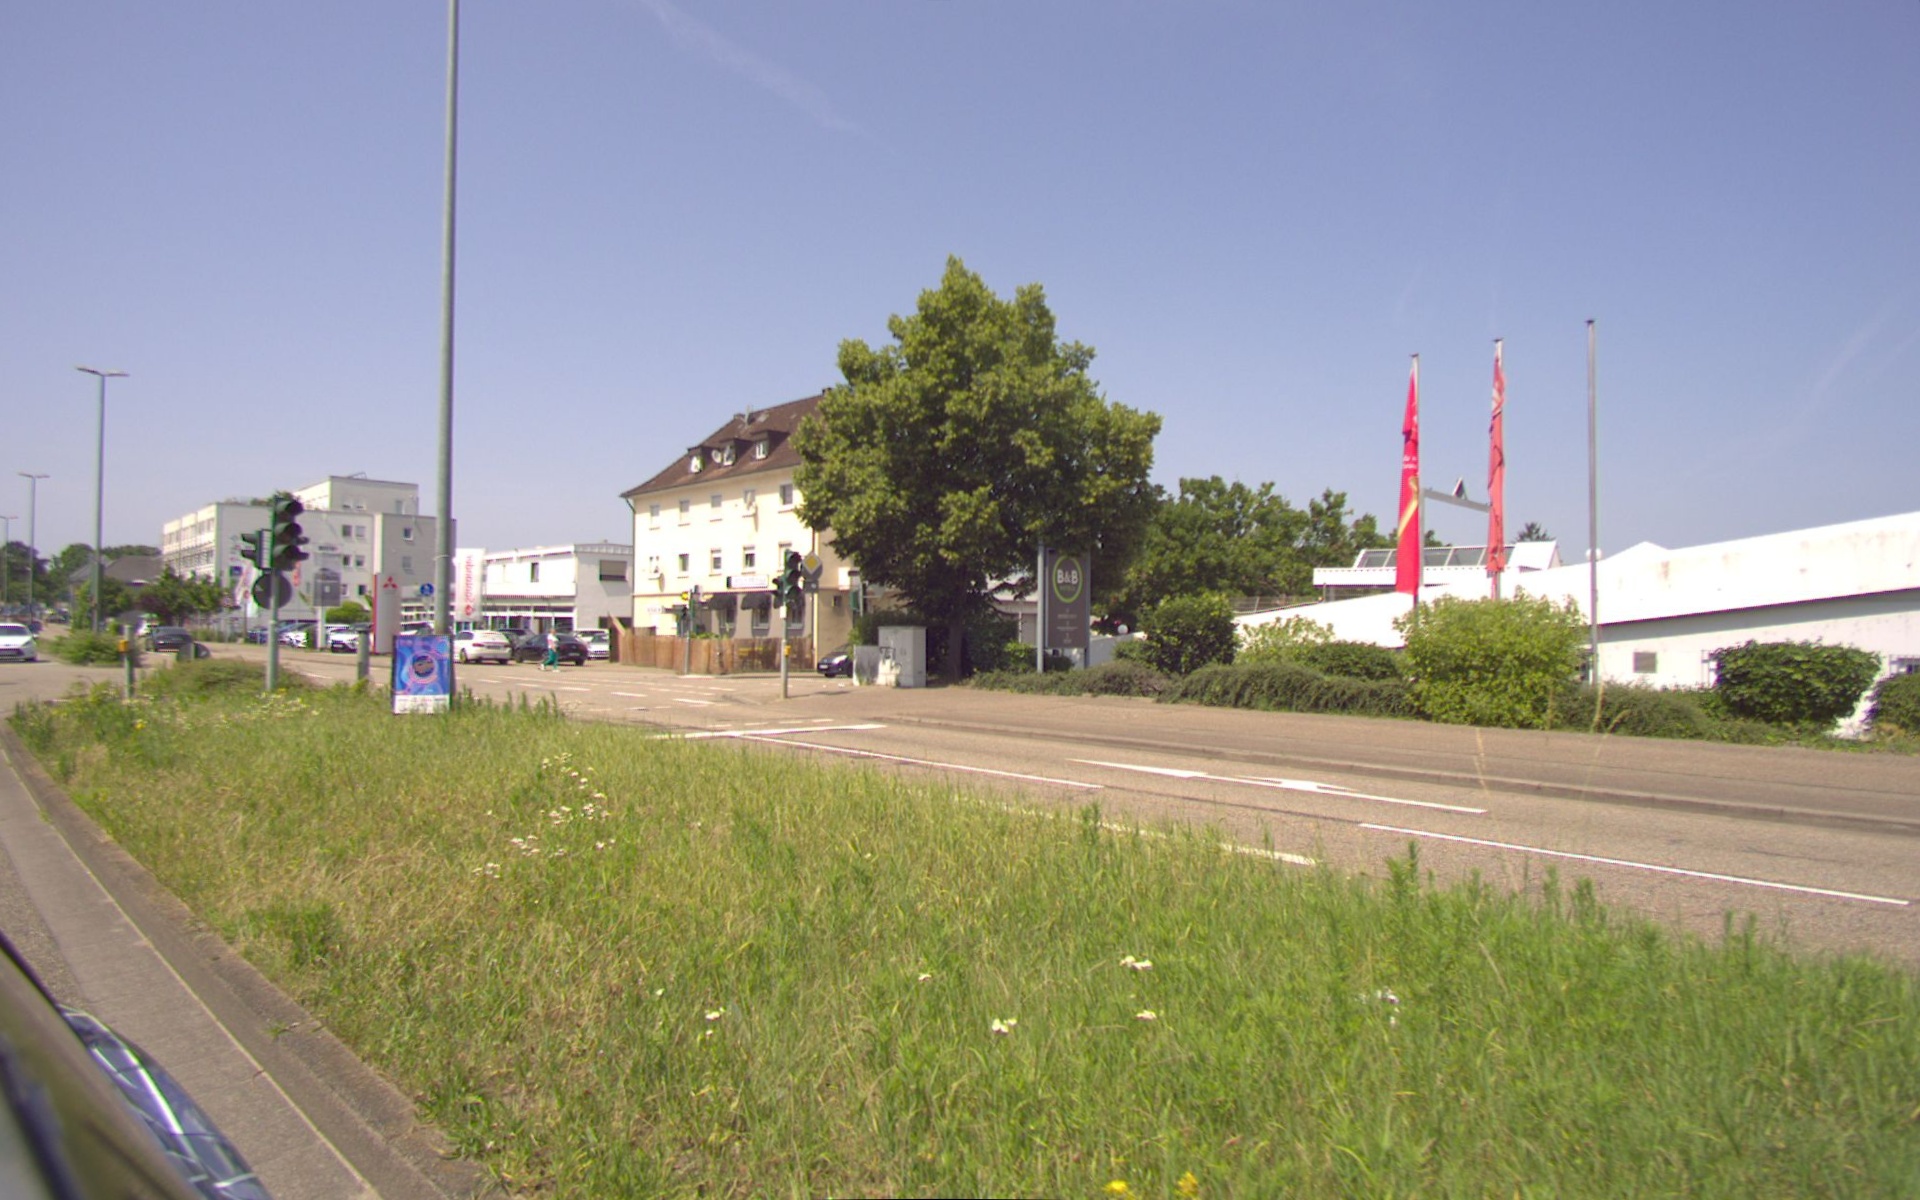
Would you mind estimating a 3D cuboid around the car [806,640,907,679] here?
[{"bbox_3d":[-4.431,2.540,43.647,3.937,1.624,1.872,2,-3,-41],"label":"car"}]

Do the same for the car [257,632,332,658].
[{"bbox_3d":[-46.006,3.120,69.983,1.760,1.621,3.943,-1,-6,43],"label":"car"}]

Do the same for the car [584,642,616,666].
[{"bbox_3d":[-20.467,3.069,57.559,1.622,1.261,4.012,1,-2,-19],"label":"car"}]

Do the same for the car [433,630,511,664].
[{"bbox_3d":[-21.659,2.054,44.810,1.754,1.421,4.764,4,-4,-42],"label":"car"}]

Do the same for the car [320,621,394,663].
[{"bbox_3d":[-35.929,2.480,60.396,1.737,1.634,4.000,0,11,4],"label":"car"}]

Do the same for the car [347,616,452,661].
[{"bbox_3d":[-30.120,2.035,54.494,1.760,1.721,4.500,-1,6,43],"label":"car"}]

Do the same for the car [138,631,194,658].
[{"bbox_3d":[-46.216,2.553,58.889,4.503,1.497,1.971,-1,-3,45],"label":"car"}]

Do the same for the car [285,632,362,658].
[{"bbox_3d":[-41.624,2.907,66.217,3.940,1.621,1.927,2,-3,-44],"label":"car"}]

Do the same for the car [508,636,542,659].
[{"bbox_3d":[-24.661,2.665,57.321,1.622,1.261,4.013,1,-2,-24],"label":"car"}]

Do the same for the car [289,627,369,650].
[{"bbox_3d":[-39.799,2.434,63.855,1.860,1.405,3.943,-1,-2,43],"label":"car"}]

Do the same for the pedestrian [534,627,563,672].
[{"bbox_3d":[-16.433,1.974,40.386,0.732,1.760,1.034,2,-3,-43],"label":"pedestrian"}]

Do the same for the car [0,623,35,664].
[{"bbox_3d":[-35.500,1.586,37.459,3.713,1.445,1.669,-2,-2,45],"label":"car"}]

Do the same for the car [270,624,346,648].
[{"bbox_3d":[-43.687,2.429,67.852,1.760,1.580,3.943,-1,-3,43],"label":"car"}]

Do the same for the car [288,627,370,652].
[{"bbox_3d":[-38.509,2.384,61.828,1.760,1.478,3.943,-1,-2,43],"label":"car"}]

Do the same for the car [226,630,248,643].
[{"bbox_3d":[-74.813,3.798,104.686,1.435,1.350,2.835,2,-2,-43],"label":"car"}]

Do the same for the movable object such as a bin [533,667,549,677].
[{"bbox_3d":[-16.782,2.881,40.543,0.411,0.375,0.507,2,-3,-44],"label":"movable object such as a bin"}]

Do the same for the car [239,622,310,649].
[{"bbox_3d":[-50.166,2.609,74.076,2.000,1.896,3.943,-1,-2,43],"label":"car"}]

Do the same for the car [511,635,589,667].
[{"bbox_3d":[-18.751,2.301,46.206,3.999,1.361,1.714,-1,-3,42],"label":"car"}]

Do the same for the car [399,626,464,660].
[{"bbox_3d":[-26.915,2.193,51.676,1.810,1.655,4.188,1,-2,-11],"label":"car"}]

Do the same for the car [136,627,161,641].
[{"bbox_3d":[-87.645,3.634,109.292,3.666,1.460,1.672,-2,-1,43],"label":"car"}]

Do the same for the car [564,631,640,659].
[{"bbox_3d":[-21.849,2.728,61.872,1.866,1.627,3.942,-1,-3,44],"label":"car"}]
